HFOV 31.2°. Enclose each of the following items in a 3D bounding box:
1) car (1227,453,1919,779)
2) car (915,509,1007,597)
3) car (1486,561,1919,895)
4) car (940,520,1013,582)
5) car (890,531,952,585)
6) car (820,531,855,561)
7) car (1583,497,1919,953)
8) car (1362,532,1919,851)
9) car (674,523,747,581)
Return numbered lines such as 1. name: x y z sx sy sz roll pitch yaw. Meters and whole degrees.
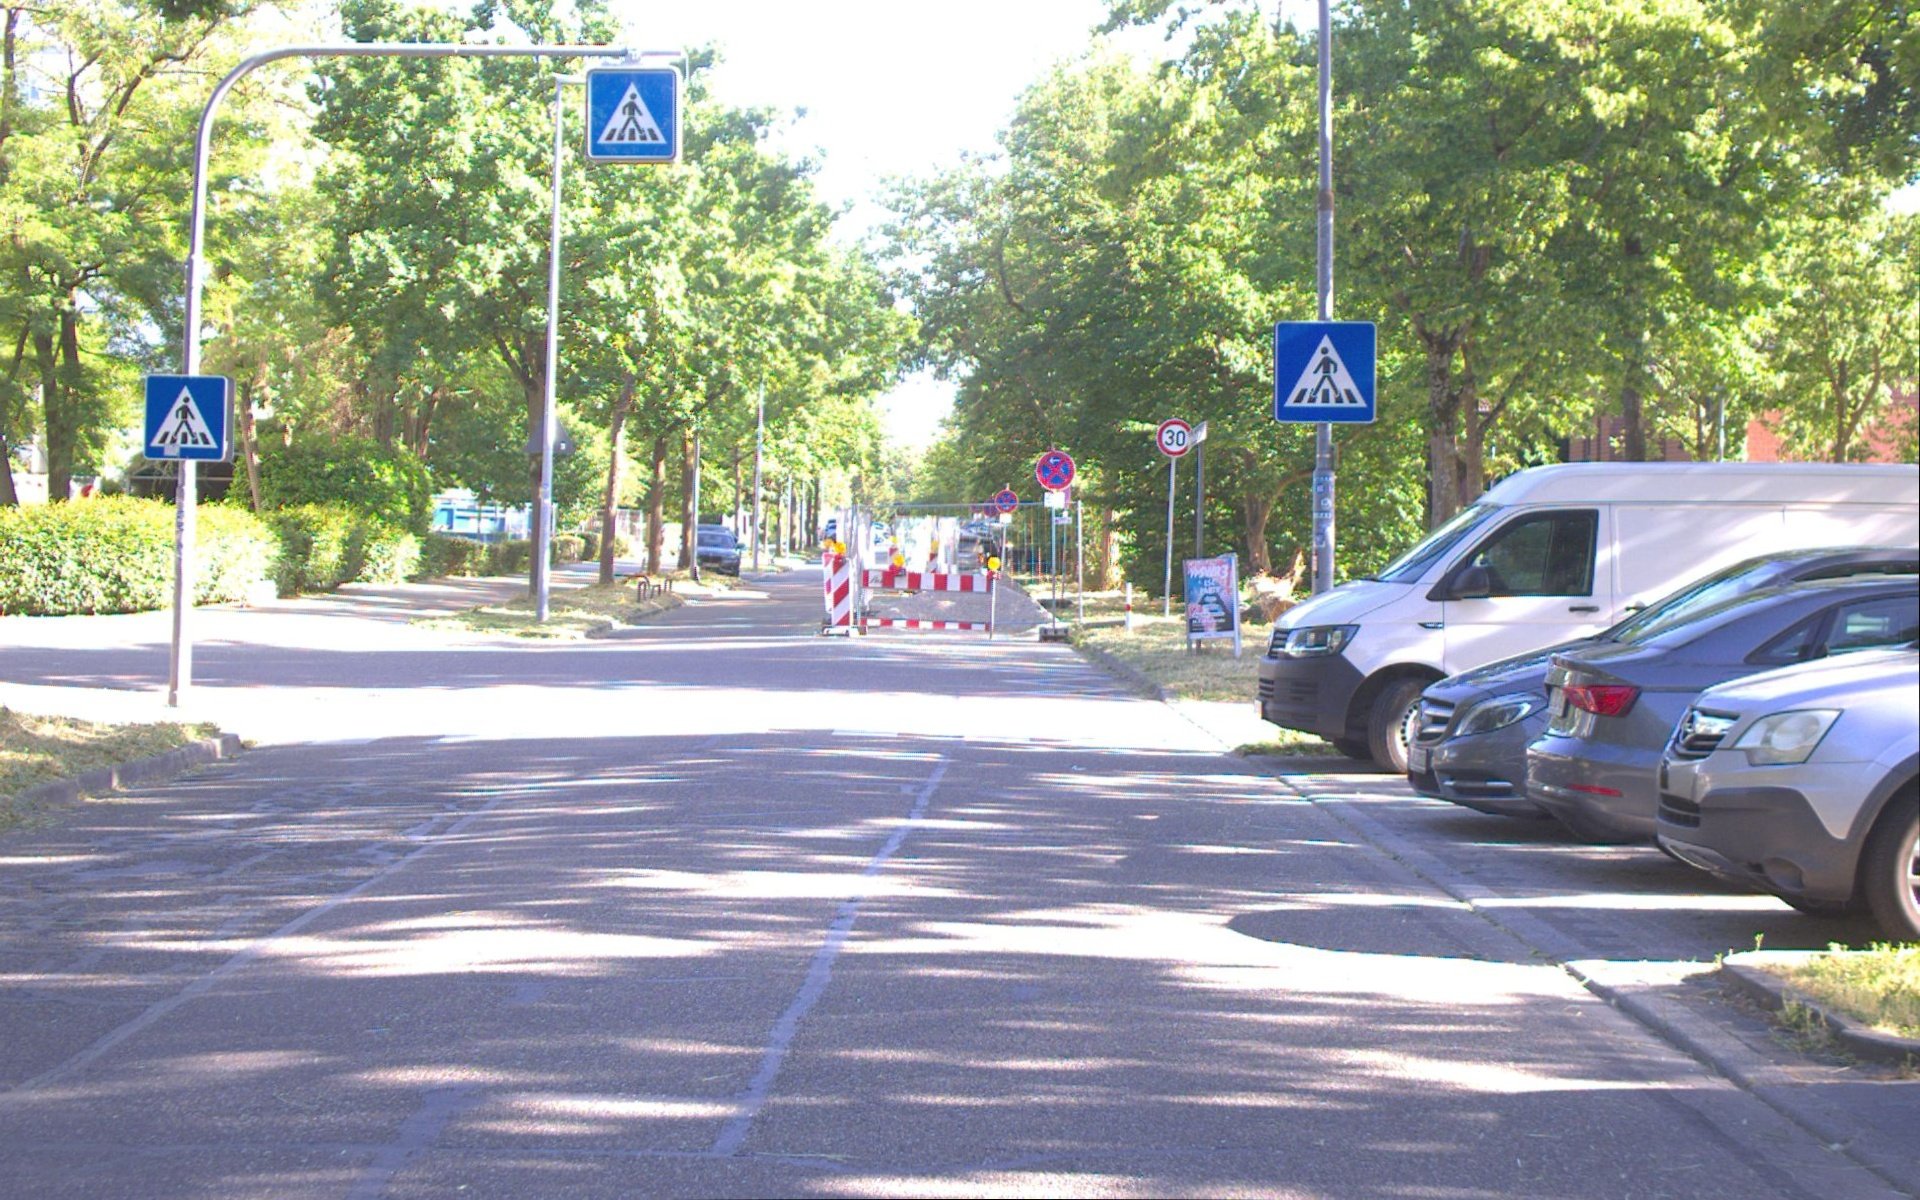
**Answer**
1. car: 4.558 0.103 23.729 5.187 2.098 2.083 1 1 -2
2. car: -0.008 -1.089 79.809 1.993 1.926 4.000 2 1 -1
3. car: 4.592 0.576 16.037 3.987 1.428 1.901 1 1 1
4. car: 0.470 -1.445 100.524 1.993 1.711 4.000 2 1 -1
5. car: -1.335 -1.426 116.277 1.993 1.711 4.000 2 1 -1
6. car: -7.245 -3.199 203.883 1.993 1.711 4.000 1 1 -1
7. car: 4.822 0.417 13.453 4.384 1.645 1.851 -1 1 -2
8. car: 4.445 0.476 18.628 4.212 1.563 1.934 2 1 -2
9. car: -7.721 -1.491 106.624 1.993 1.711 4.000 2 1 -1
